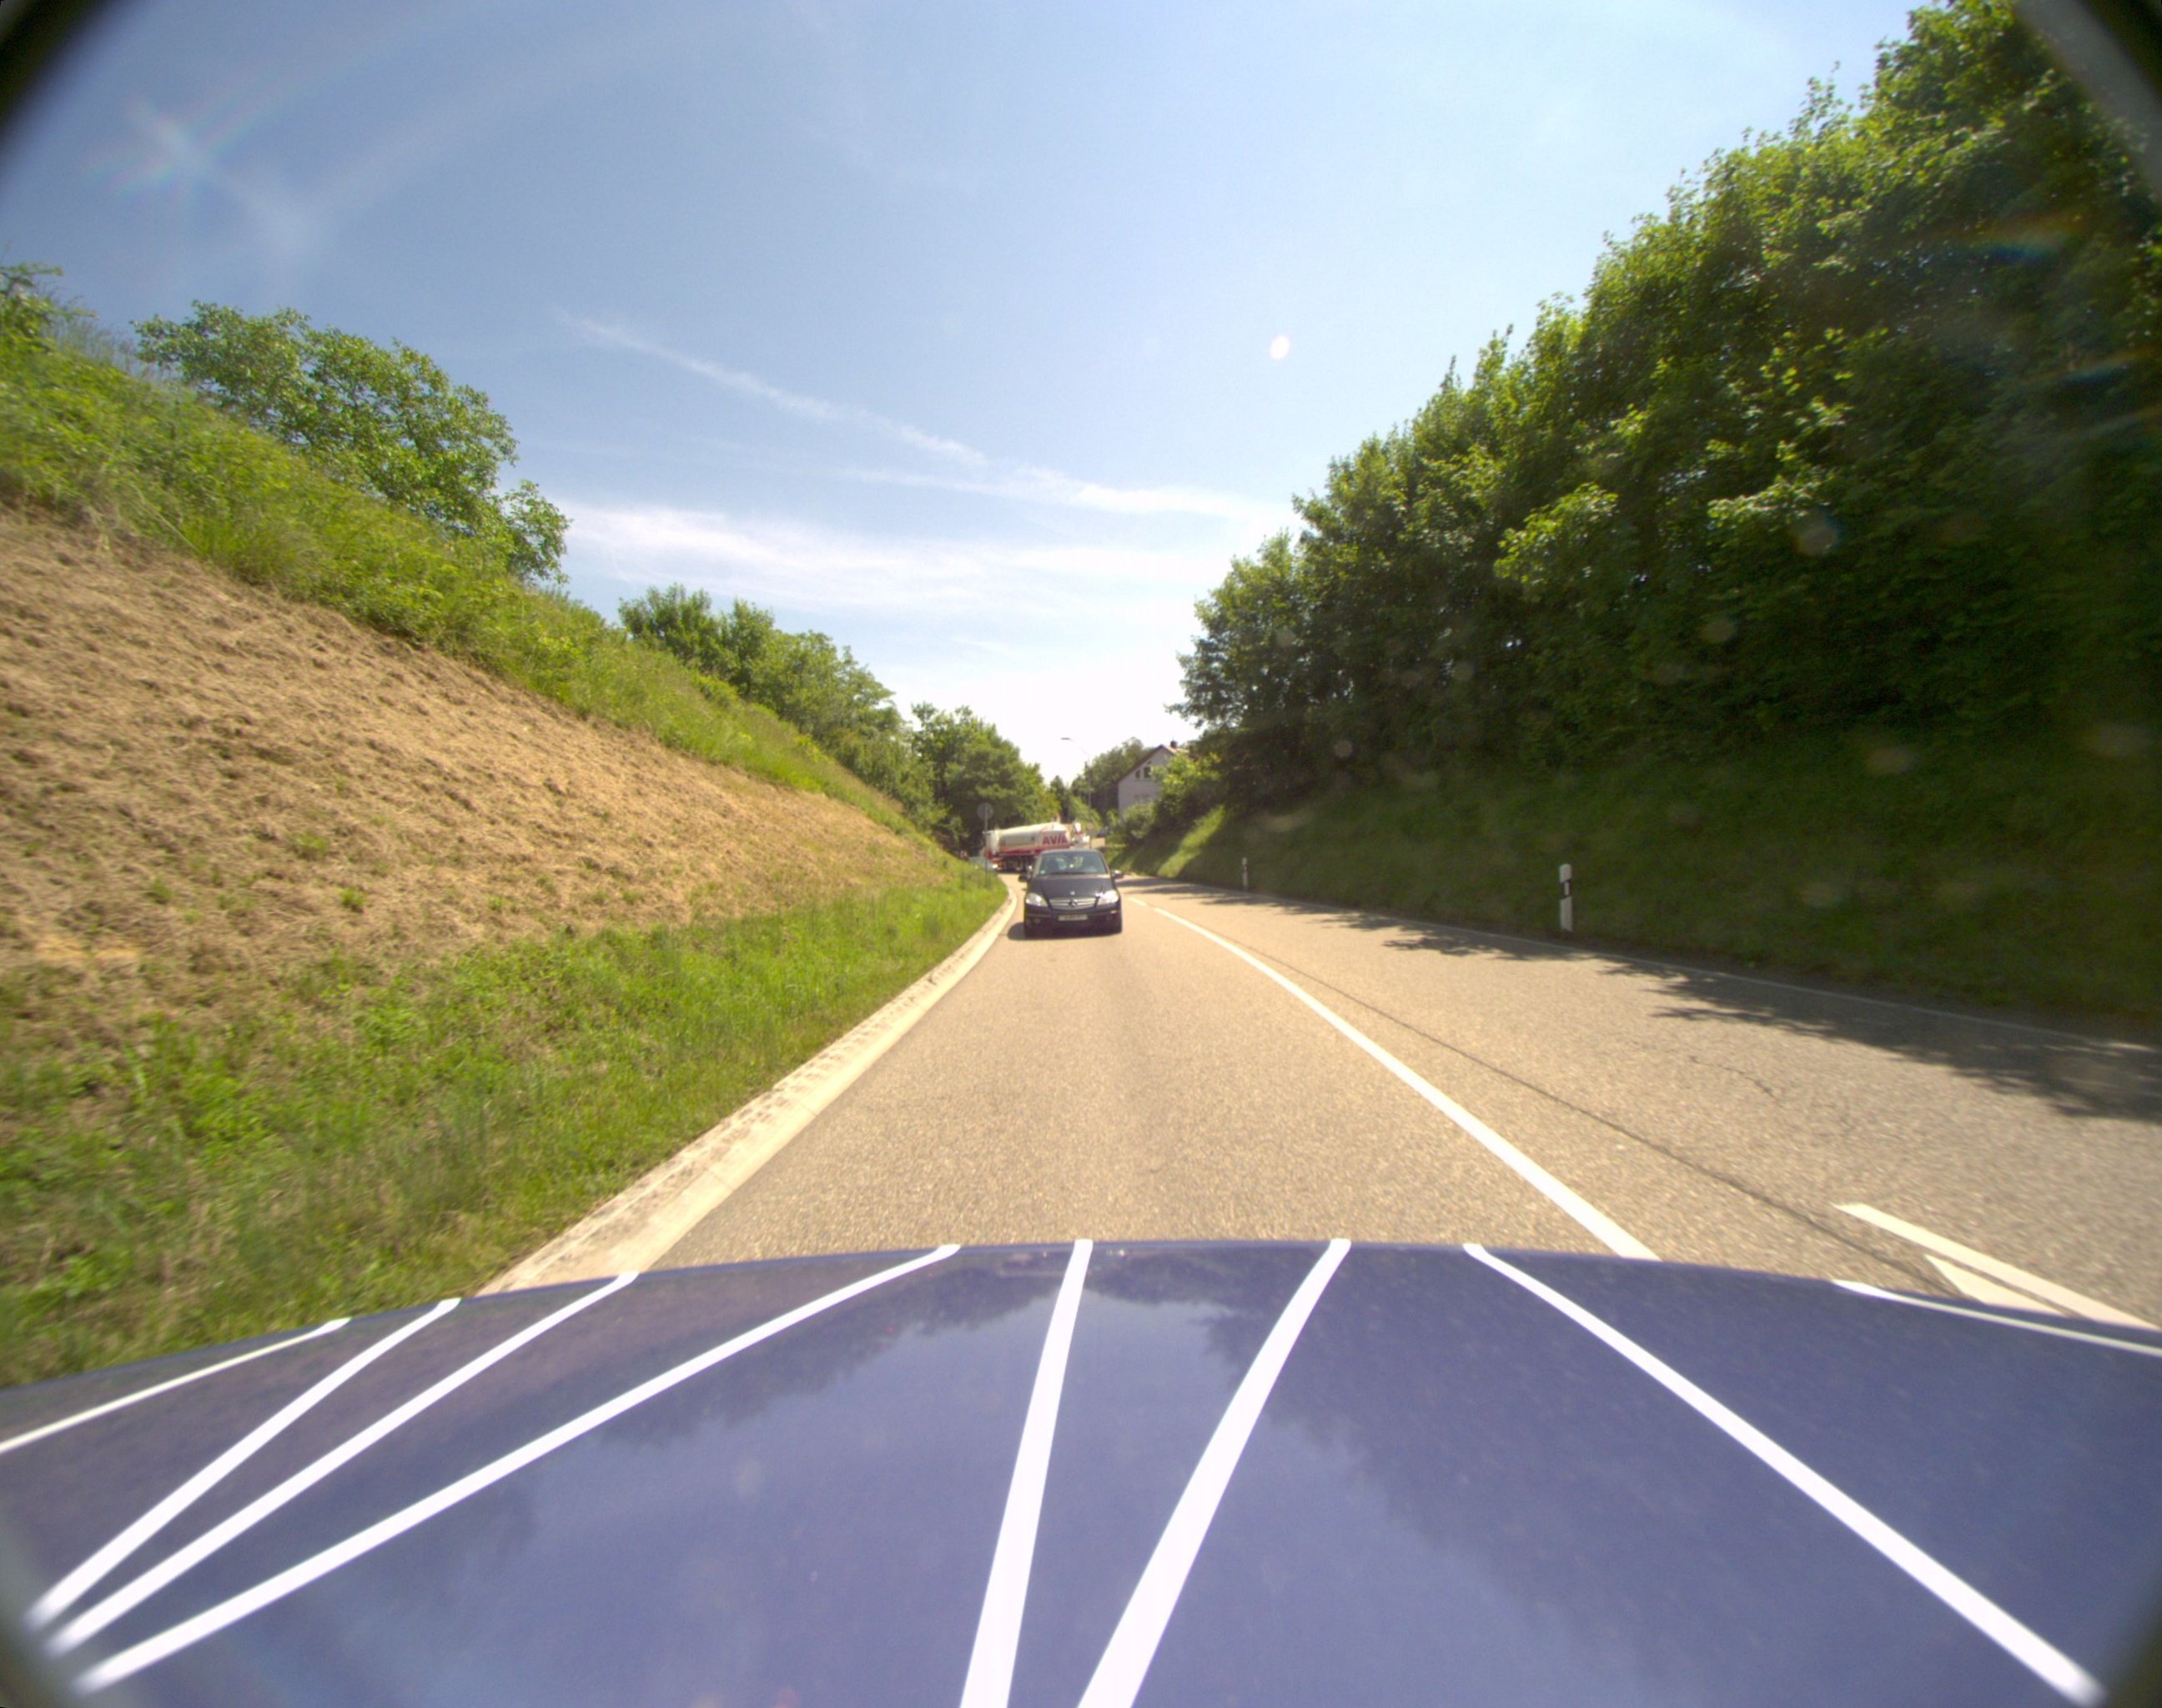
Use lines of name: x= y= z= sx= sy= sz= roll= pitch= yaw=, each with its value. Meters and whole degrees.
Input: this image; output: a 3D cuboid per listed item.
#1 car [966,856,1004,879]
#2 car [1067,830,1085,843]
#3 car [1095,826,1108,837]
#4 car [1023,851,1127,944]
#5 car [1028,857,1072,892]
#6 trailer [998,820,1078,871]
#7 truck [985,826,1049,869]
car: x=-6.647 y=0.893 z=52.323 sx=1.758 sy=1.281 sz=4.138 roll=-3 pitch=2 yaw=-18
car: x=-0.640 y=-2.359 z=101.059 sx=1.998 sy=1.499 sz=3.998 roll=-3 pitch=4 yaw=4
car: x=3.095 y=-3.446 z=116.570 sx=1.749 sy=1.382 sz=3.996 roll=-4 pitch=5 yaw=0
car: x=-0.185 y=0.771 z=15.406 sx=1.796 sy=1.570 sz=3.799 roll=-2 pitch=0 yaw=-2
car: x=-1.312 y=0.823 z=31.132 sx=1.648 sy=1.314 sz=3.437 roll=2 pitch=-1 yaw=-4
trailer: x=-3.421 y=-0.579 z=55.697 sx=2.644 sy=3.353 sz=11.123 roll=-3 pitch=1 yaw=-20
truck: x=-5.162 y=-0.471 z=59.999 sx=2.637 sy=3.152 sz=7.053 roll=-3 pitch=1 yaw=-24
